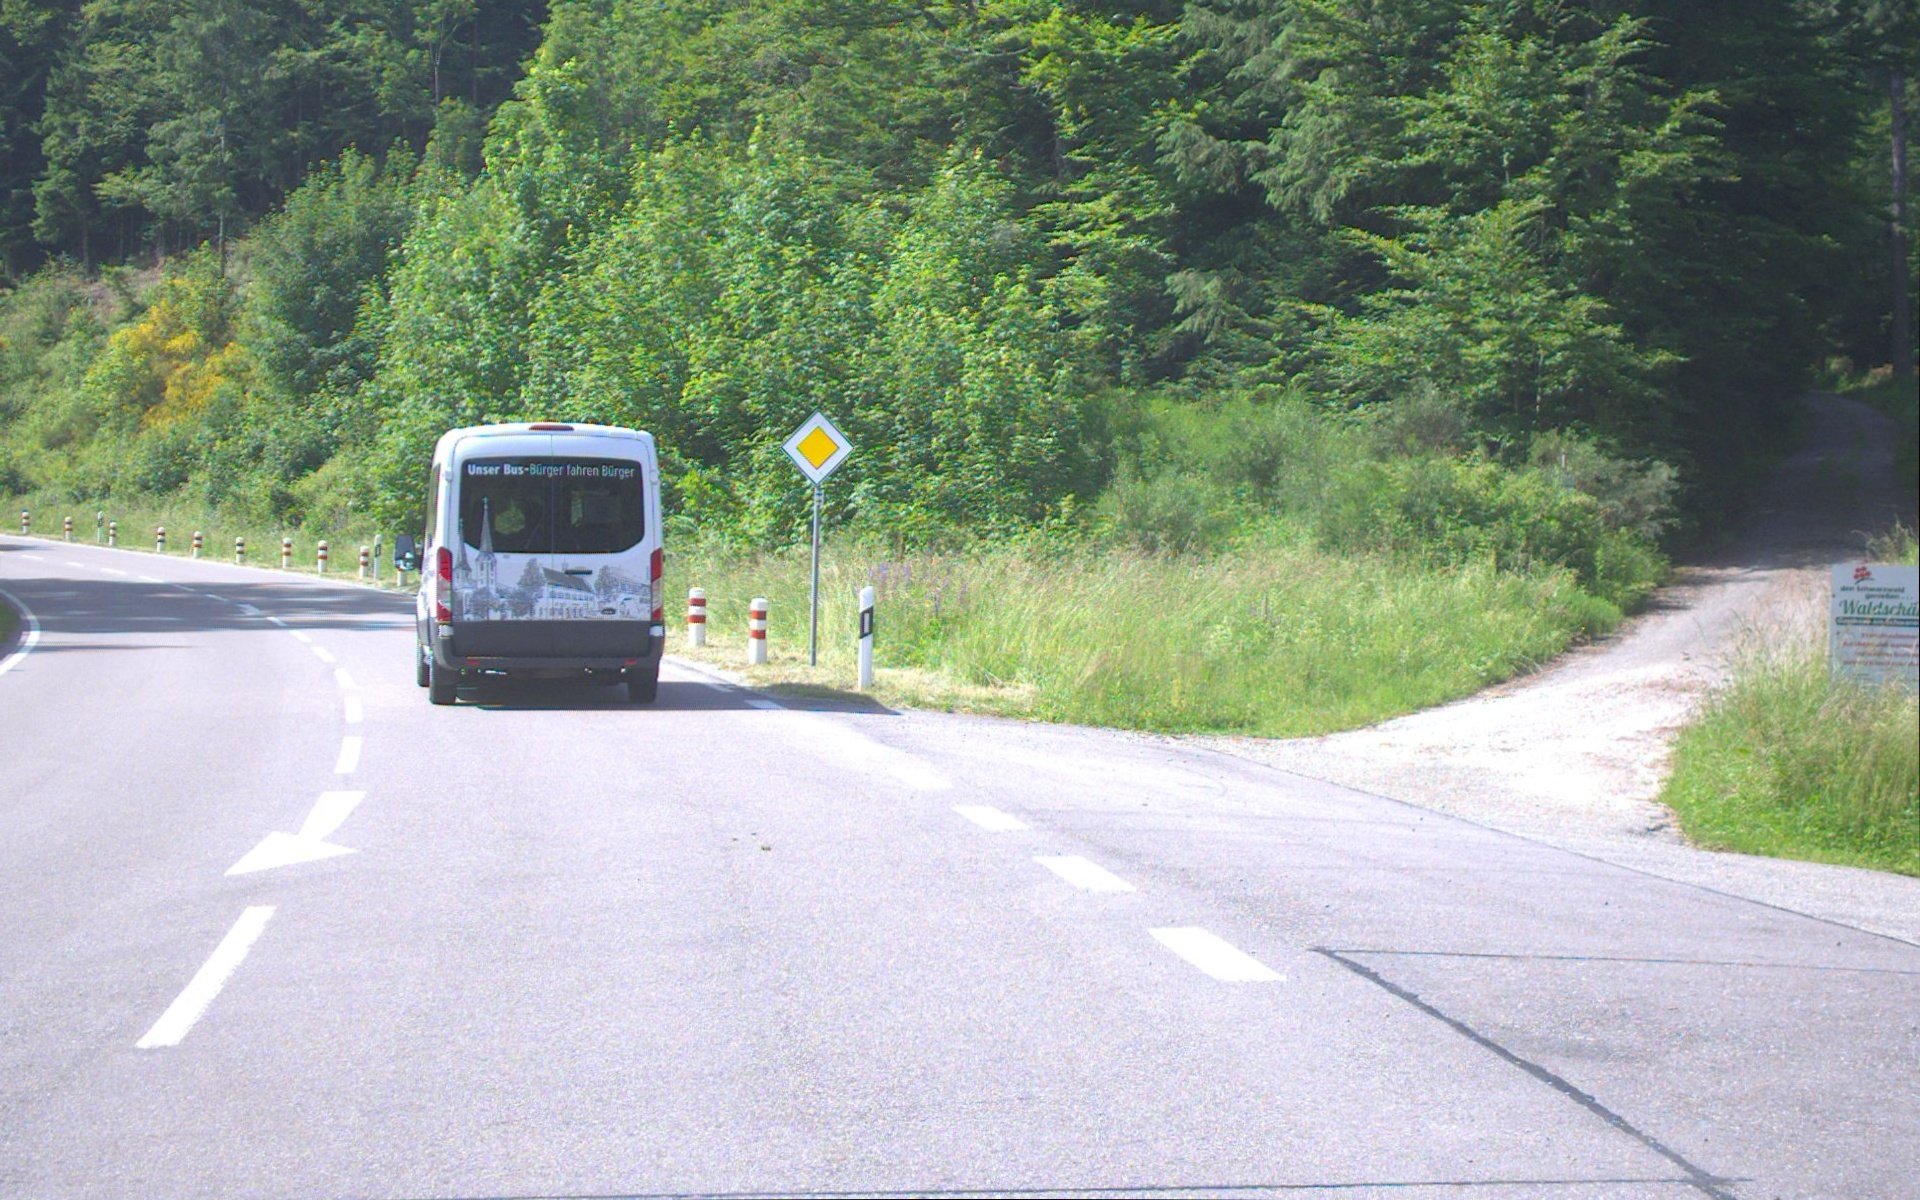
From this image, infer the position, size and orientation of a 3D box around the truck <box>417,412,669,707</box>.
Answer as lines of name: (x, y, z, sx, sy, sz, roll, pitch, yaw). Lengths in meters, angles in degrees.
truck: (-3.938, -0.407, 31.816, 2.115, 2.489, 5.361, 0, 1, -9)
